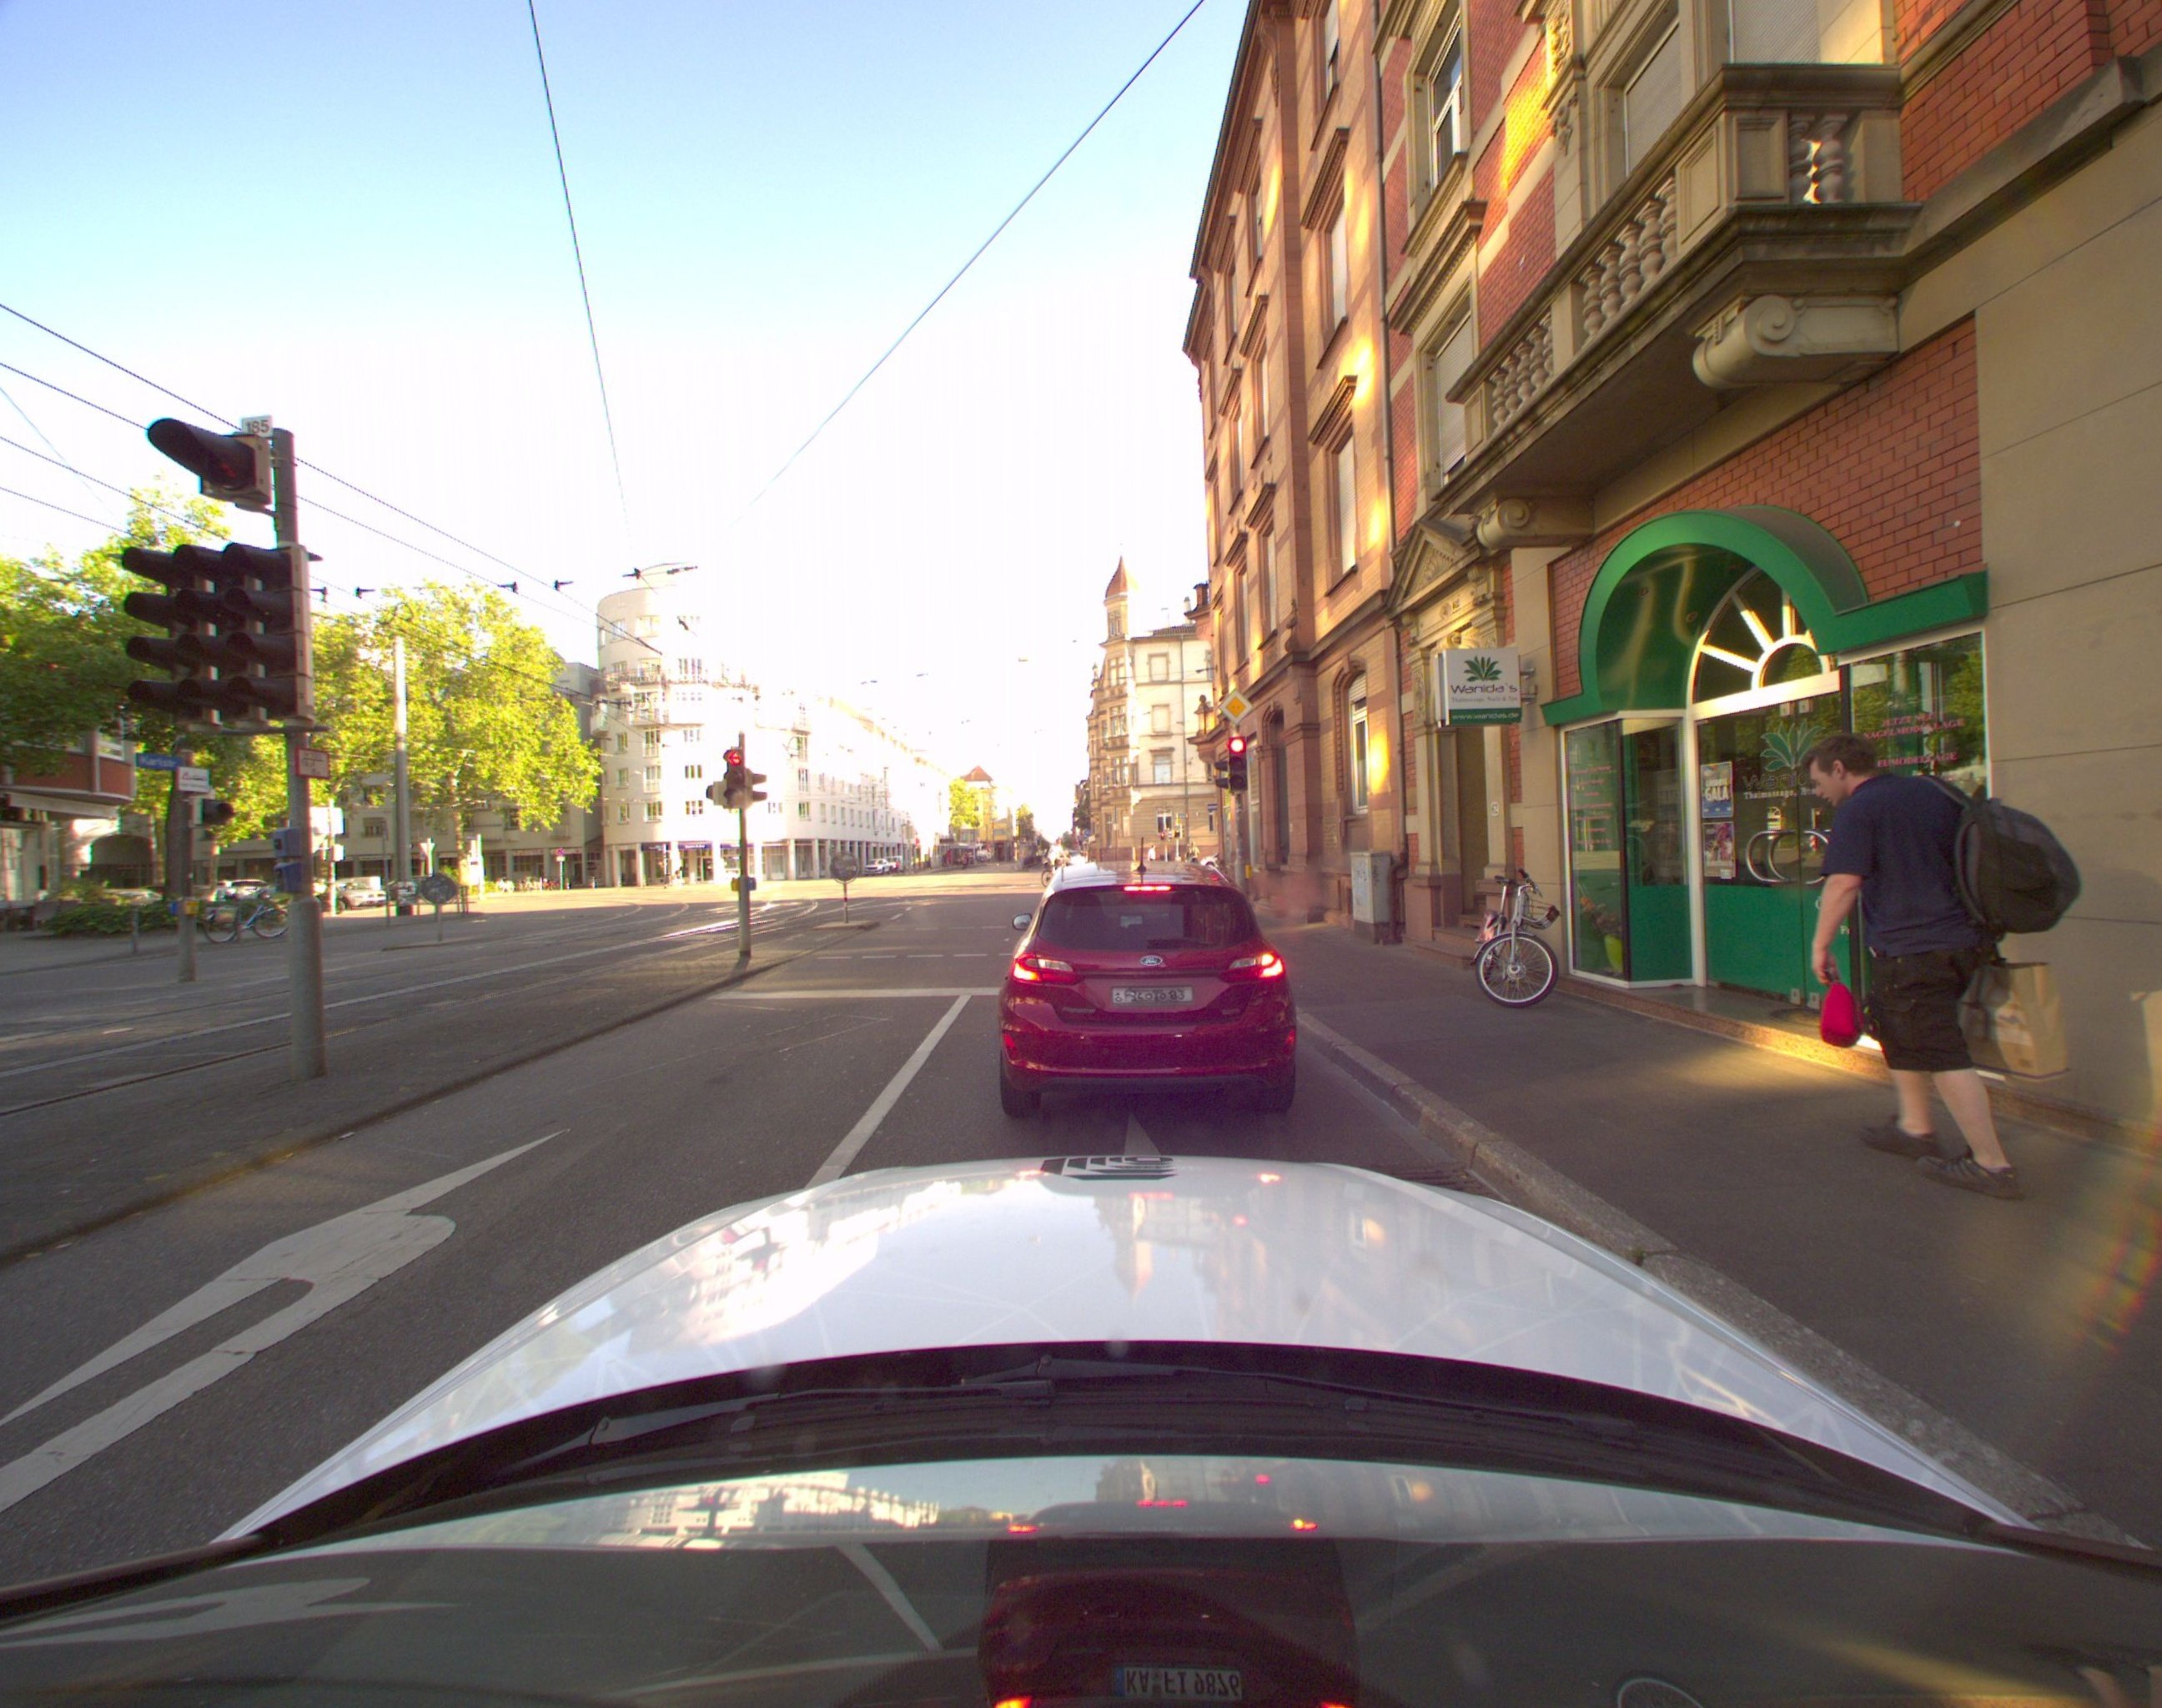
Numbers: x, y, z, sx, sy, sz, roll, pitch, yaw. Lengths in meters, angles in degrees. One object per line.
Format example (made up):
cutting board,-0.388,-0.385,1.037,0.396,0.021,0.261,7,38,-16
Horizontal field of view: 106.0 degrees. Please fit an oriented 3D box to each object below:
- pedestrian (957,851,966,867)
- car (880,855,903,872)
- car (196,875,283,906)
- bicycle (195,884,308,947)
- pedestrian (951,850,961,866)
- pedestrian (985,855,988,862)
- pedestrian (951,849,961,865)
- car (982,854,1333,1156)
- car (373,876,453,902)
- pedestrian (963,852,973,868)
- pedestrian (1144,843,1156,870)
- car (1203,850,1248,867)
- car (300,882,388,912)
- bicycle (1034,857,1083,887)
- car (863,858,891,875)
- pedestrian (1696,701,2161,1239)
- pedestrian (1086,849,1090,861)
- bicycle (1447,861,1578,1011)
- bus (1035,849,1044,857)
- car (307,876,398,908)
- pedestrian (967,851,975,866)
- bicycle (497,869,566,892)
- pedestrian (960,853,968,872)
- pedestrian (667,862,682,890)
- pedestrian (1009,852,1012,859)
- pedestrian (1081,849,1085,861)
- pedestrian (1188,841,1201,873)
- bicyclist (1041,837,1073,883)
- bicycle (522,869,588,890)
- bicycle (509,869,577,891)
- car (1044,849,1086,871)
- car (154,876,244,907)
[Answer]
pedestrian,-15.413,0.623,105.301,1.043,2.013,0.958,-2,0,-3
car,-20.426,1.010,87.840,1.696,1.718,3.562,-2,0,-1
car,-60.412,2.586,58.597,1.986,1.964,4.001,-2,0,1
bicycle,-19.759,1.434,19.459,0.668,1.327,1.907,1,0,2
pedestrian,-15.566,0.491,101.259,0.953,2.013,1.048,-2,0,-1
pedestrian,-18.548,0.859,159.801,0.579,1.488,0.525,-2,0,-3
pedestrian,-15.835,0.355,103.287,1.043,2.013,0.958,-2,0,-3
car,0.306,0.745,6.029,1.750,1.466,3.941,-1,0,-3
car,-44.186,2.314,53.916,3.969,1.531,1.618,-2,0,4
pedestrian,-14.328,0.727,103.318,1.043,2.013,0.958,-2,0,-3
pedestrian,5.153,0.170,60.707,0.753,2.013,0.654,-2,0,7
car,10.043,0.305,56.732,2.874,1.104,1.255,-2,0,2
car,-36.927,2.146,40.799,3.968,1.295,1.781,-2,0,24
bicycle,-0.921,0.746,33.175,1.985,1.147,0.815,-2,0,45
car,-20.151,1.183,80.536,1.760,1.546,3.460,-2,0,0
pedestrian,3.419,0.385,3.312,0.944,1.792,1.054,-3,0,-2
pedestrian,1.183,0.143,134.692,0.574,2.013,0.632,-2,0,5
bicycle,3.866,0.682,7.434,0.710,1.152,1.662,-4,0,17
bus,-10.964,-0.289,217.589,1.919,2.013,7.137,-2,0,1
car,-40.249,2.112,45.032,3.978,1.559,1.636,-2,0,11
pedestrian,-15.059,0.653,111.620,0.954,2.013,1.047,-2,0,-3
bicycle,-43.014,2.062,63.733,4.685,1.530,1.067,-2,0,2
pedestrian,-10.519,0.767,73.282,0.522,1.681,0.486,-2,0,-1
pedestrian,-29.788,1.606,59.674,0.949,2.013,0.931,-2,0,-29
pedestrian,-17.090,0.279,197.390,0.630,1.604,0.575,-2,0,-18
pedestrian,0.327,0.167,136.786,0.574,2.013,0.632,-2,0,5
pedestrian,6.305,0.149,45.257,0.558,1.755,0.650,-3,0,1
bicyclist,-0.983,0.254,33.263,0.981,1.821,0.815,-2,0,45
bicycle,-42.857,2.052,66.422,4.685,1.530,1.067,-2,0,2
bicycle,-42.852,2.043,64.870,4.685,1.530,1.067,-2,0,2
car,-1.241,0.484,63.202,1.459,1.549,3.870,-2,0,-31
car,-63.331,2.676,58.580,1.986,1.964,4.001,-2,0,1
